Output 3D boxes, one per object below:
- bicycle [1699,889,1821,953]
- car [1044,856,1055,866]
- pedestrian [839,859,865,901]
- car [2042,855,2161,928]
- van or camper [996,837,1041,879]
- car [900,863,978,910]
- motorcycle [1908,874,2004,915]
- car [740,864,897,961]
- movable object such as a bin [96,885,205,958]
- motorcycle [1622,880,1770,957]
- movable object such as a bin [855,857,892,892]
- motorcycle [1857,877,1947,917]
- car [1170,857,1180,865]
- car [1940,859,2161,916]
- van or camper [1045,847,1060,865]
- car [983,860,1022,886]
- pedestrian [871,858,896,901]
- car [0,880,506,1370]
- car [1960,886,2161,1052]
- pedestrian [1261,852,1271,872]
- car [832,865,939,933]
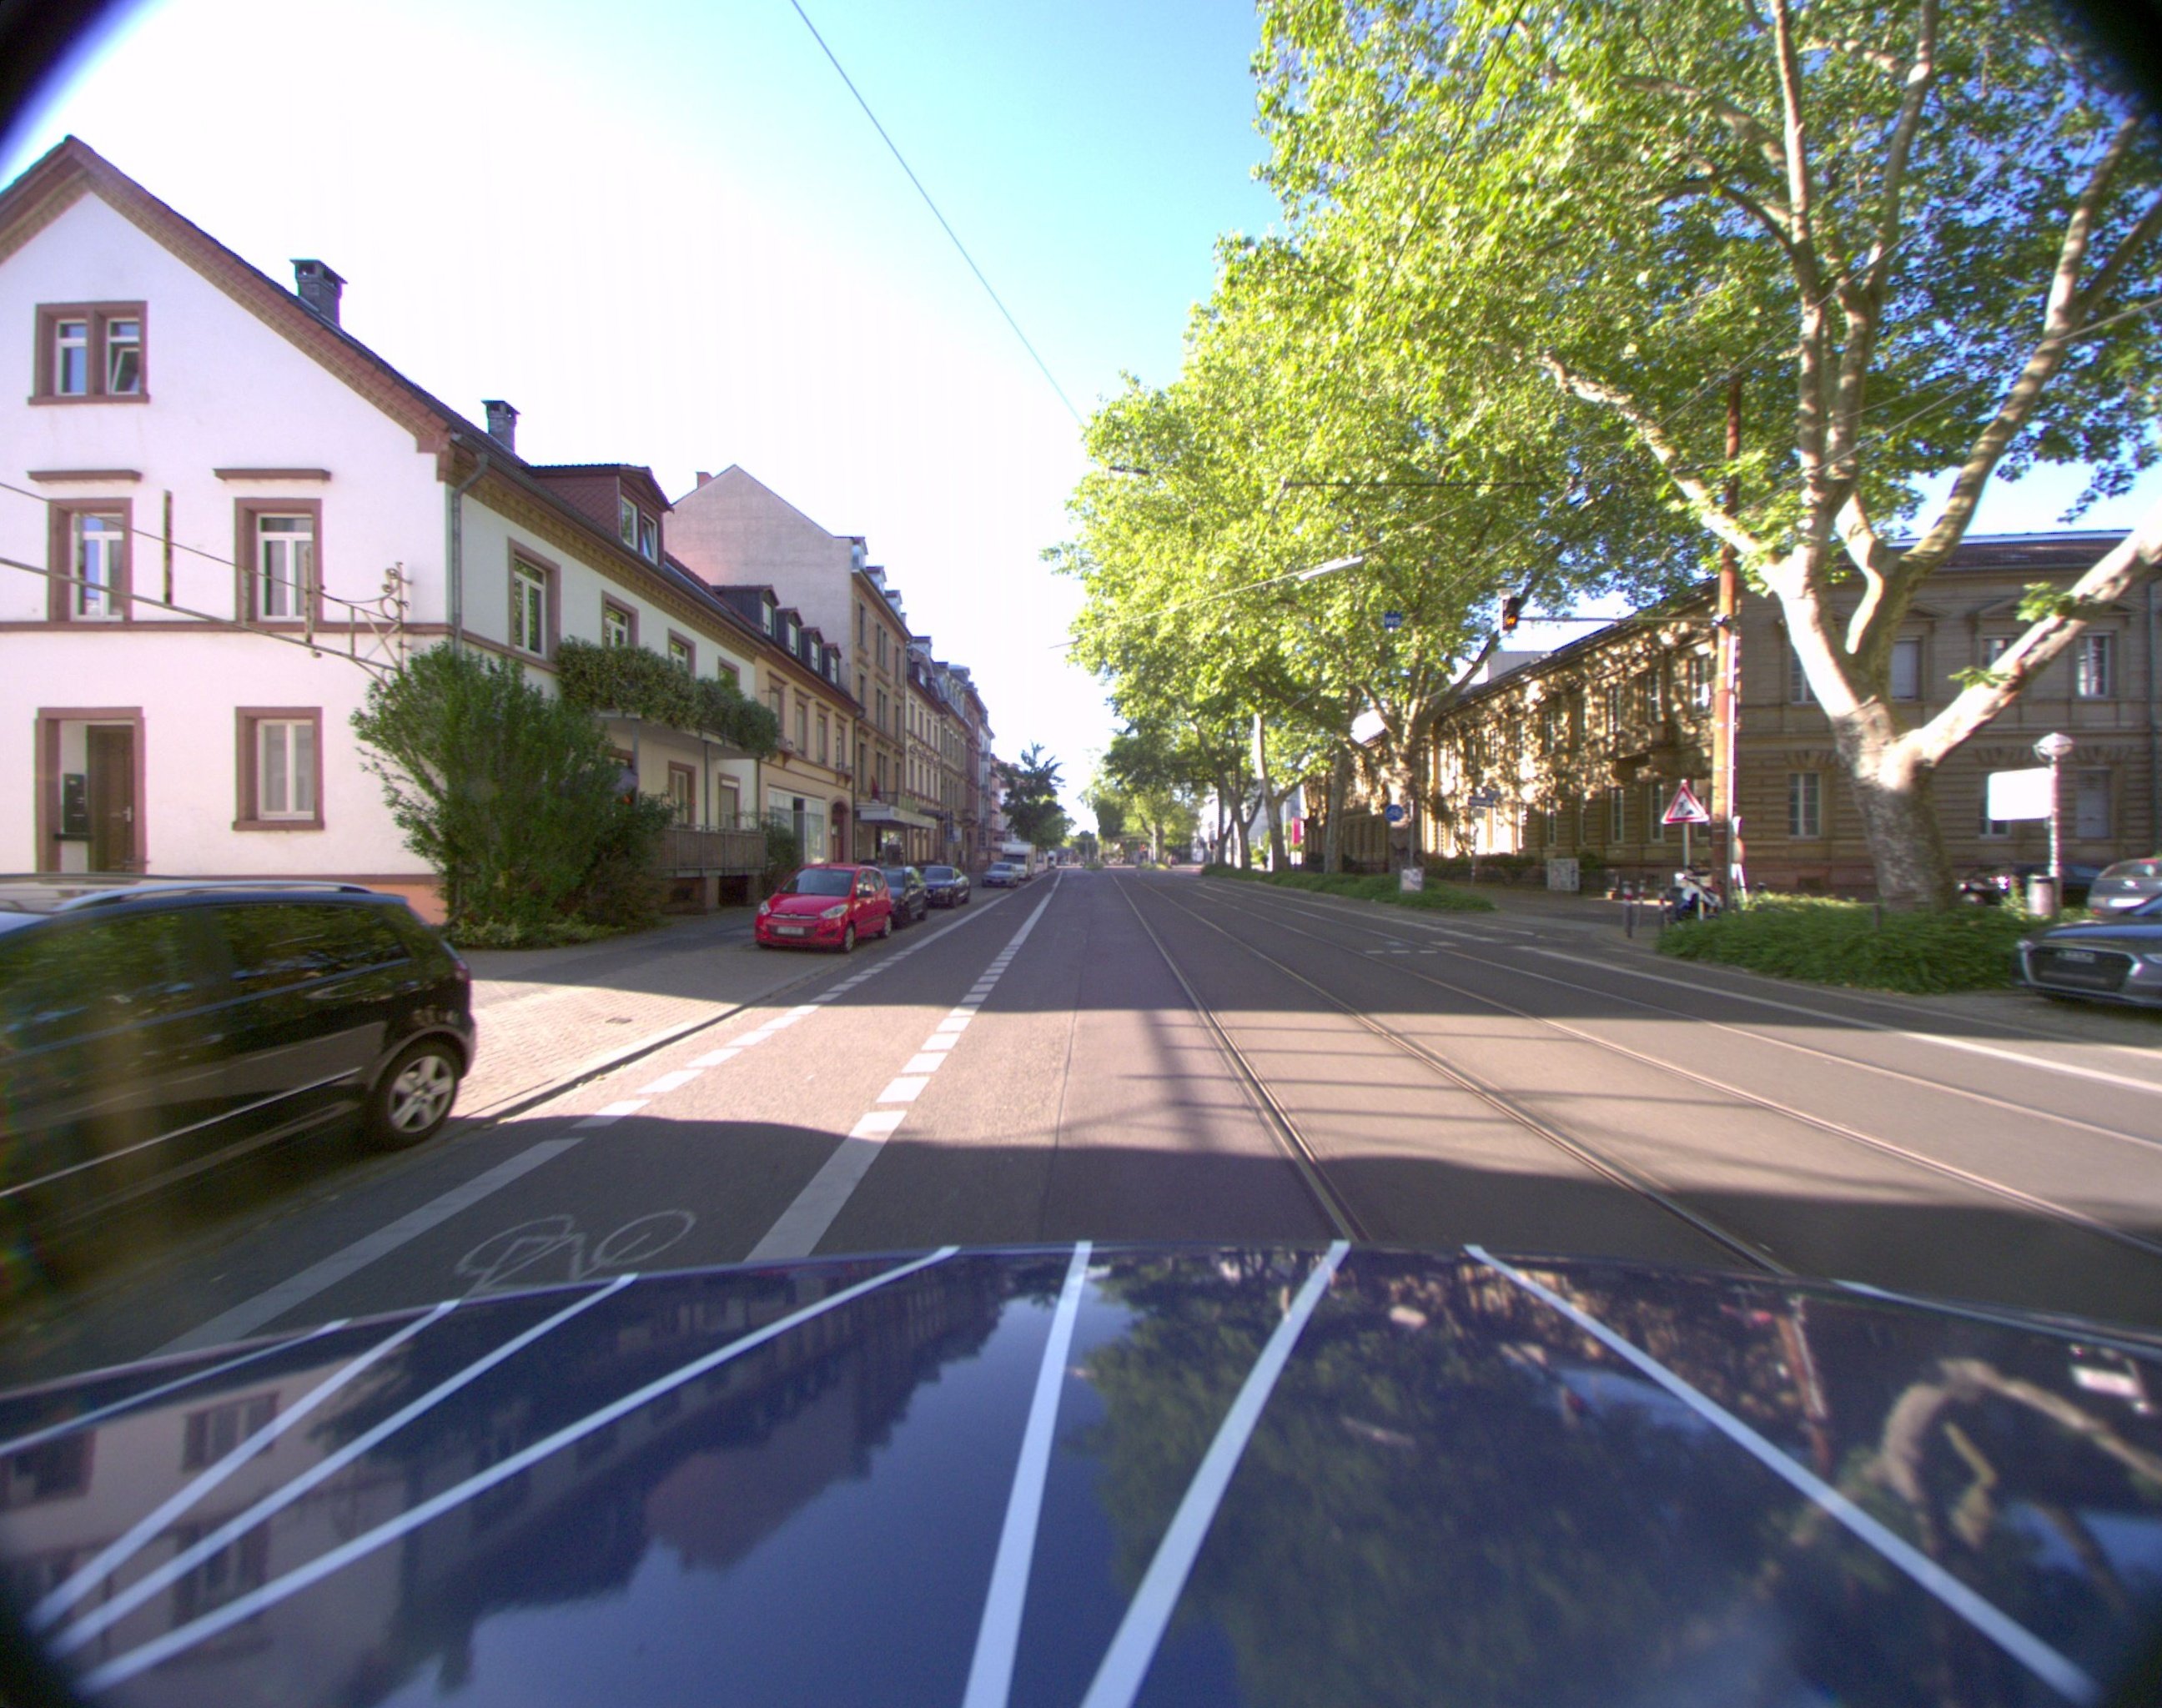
[{"bbox_3d":[11.677,1.118,13.161,0.542,0.935,2.035,-1,0,8],"label":"bicycle"},{"bbox_3d":[-5.062,1.133,123.536,1.656,1.439,3.800,1,0,-1],"label":"car"},{"bbox_3d":[-8.109,0.913,26.931,0.659,1.474,0.785,-1,1,-1],"label":"pedestrian"},{"bbox_3d":[22.759,0.780,15.608,3.785,1.409,1.695,0,-3,1],"label":"car"},{"bbox_3d":[-4.777,0.305,59.667,2.483,2.954,7.884,3,0,2],"label":"van or camper"},{"bbox_3d":[-4.767,1.058,26.040,1.698,1.384,4.495,1,0,2],"label":"car"},{"bbox_3d":[24.106,1.100,20.984,0.721,0.971,1.957,-2,0,13],"label":"motorcycle"},{"bbox_3d":[-4.788,0.995,14.366,1.638,1.537,3.576,1,0,2],"label":"car"},{"bbox_3d":[-14.298,1.020,11.701,0.630,1.021,0.794,-1,3,-2],"label":"movable object such as a bin"},{"bbox_3d":[10.581,1.060,13.222,0.886,1.140,2.392,-1,0,8],"label":"motorcycle"},{"bbox_3d":[-9.455,0.915,34.713,1.296,1.511,1.286,-1,0,0],"label":"movable object such as a bin"},{"bbox_3d":[22.830,1.165,21.184,0.721,0.971,1.957,-2,0,13],"label":"motorcycle"},{"bbox_3d":[20.146,1.547,162.599,1.870,1.620,4.562,0,-1,5],"label":"car"},{"bbox_3d":[26.572,0.893,20.683,3.927,1.324,1.849,-2,1,9],"label":"car"},{"bbox_3d":[-4.963,0.343,133.750,2.173,3.074,7.290,1,0,0],"label":"van or camper"},{"bbox_3d":[-4.589,1.093,45.139,1.814,1.426,4.664,1,0,0],"label":"car"},{"bbox_3d":[-7.029,0.878,27.007,0.662,1.496,0.866,1,1,0],"label":"pedestrian"},{"bbox_3d":[-4.754,1.009,2.983,1.884,1.576,3.933,3,0,2],"label":"car"},{"bbox_3d":[11.533,1.016,7.325,3.929,1.324,1.847,-2,1,1],"label":"car"},{"bbox_3d":[17.846,0.770,73.318,0.721,1.838,0.837,-1,1,0],"label":"pedestrian"},{"bbox_3d":[-4.801,1.040,19.140,1.655,1.448,3.868,1,0,0],"label":"car"}]
